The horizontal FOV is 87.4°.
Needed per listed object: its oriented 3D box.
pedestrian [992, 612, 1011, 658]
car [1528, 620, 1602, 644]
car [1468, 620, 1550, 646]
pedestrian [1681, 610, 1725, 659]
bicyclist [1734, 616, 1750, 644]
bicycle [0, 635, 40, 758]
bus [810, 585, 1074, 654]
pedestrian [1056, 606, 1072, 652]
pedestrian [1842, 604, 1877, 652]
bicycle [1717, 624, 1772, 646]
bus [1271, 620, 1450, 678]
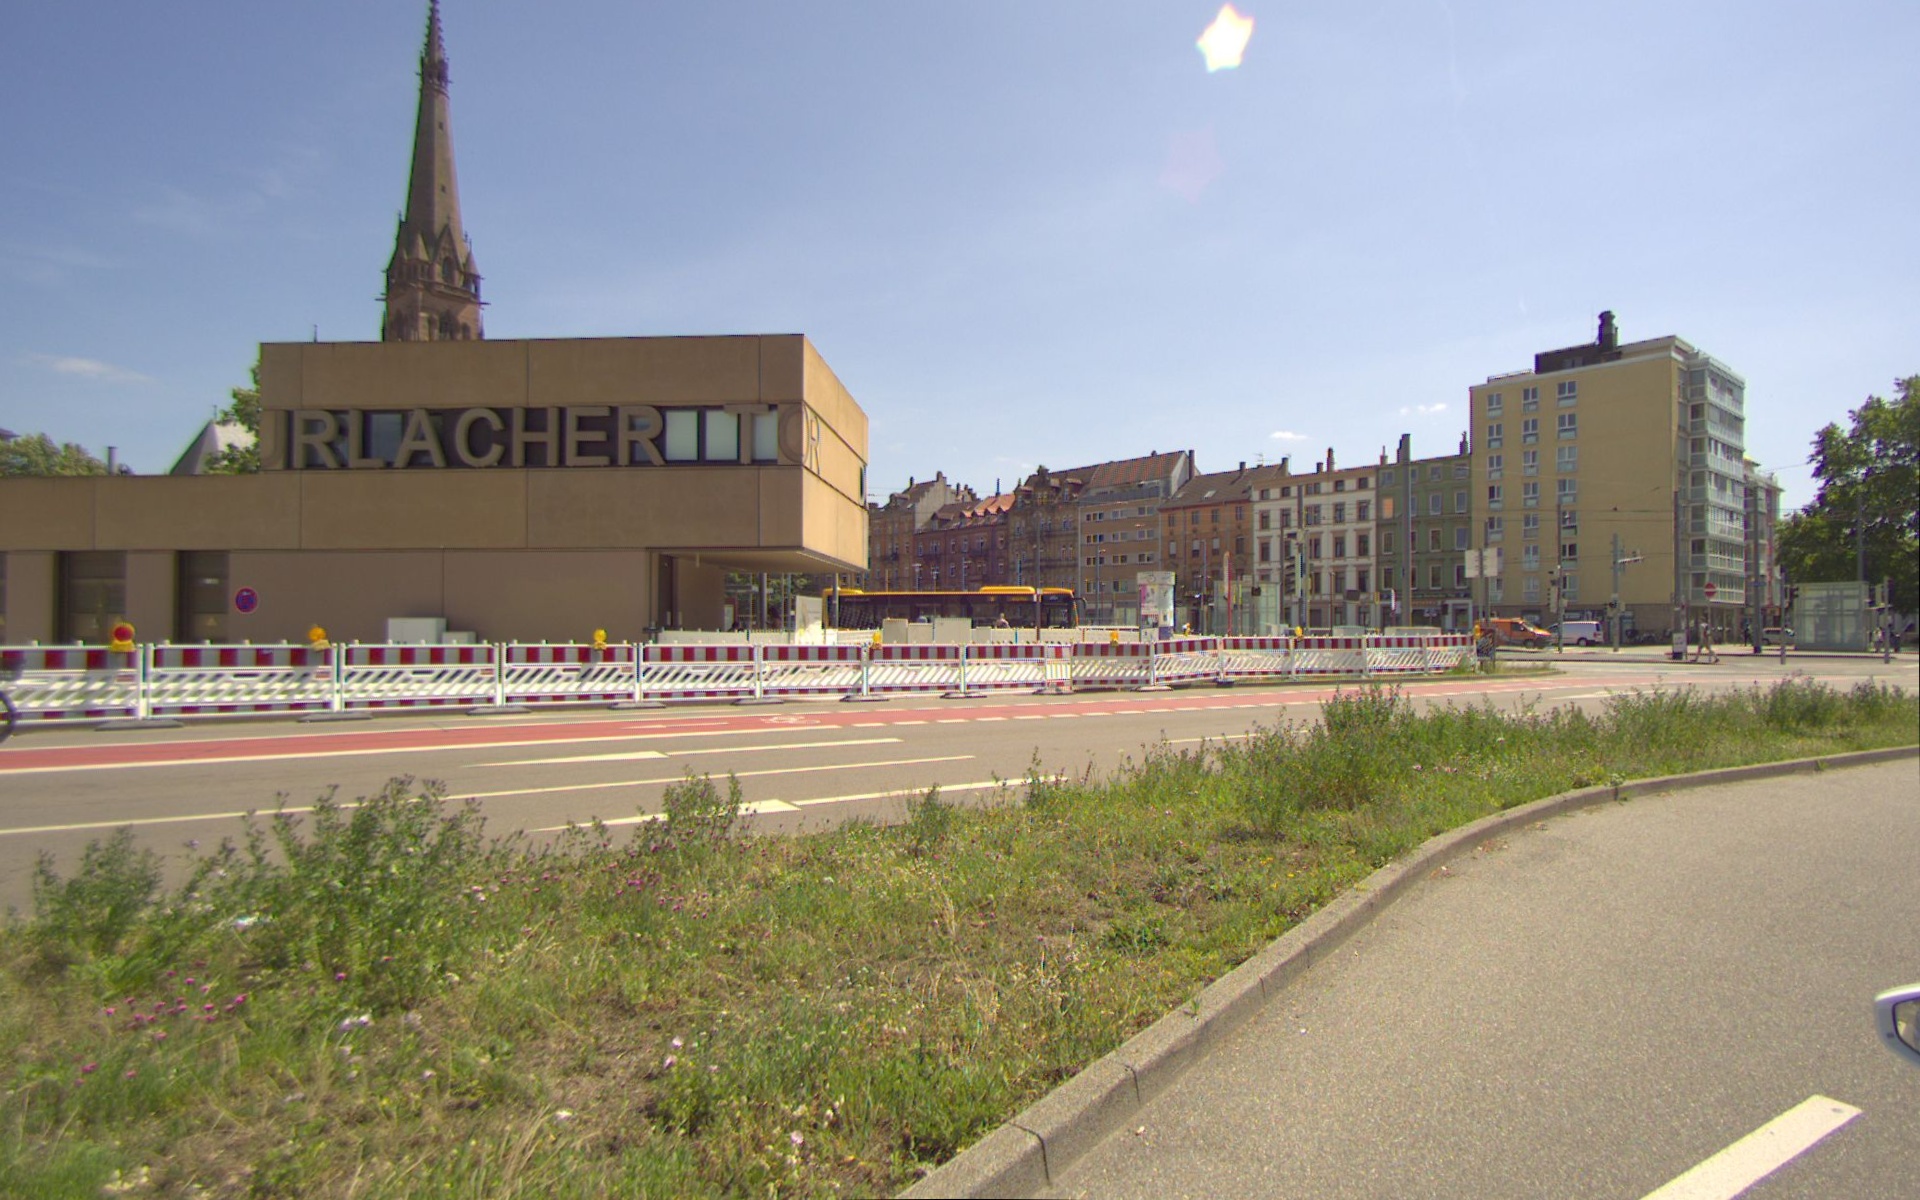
[{"bbox_3d":[1.822,1.537,44.426,0.650,2.022,0.611,-1,0,18],"label":"pedestrian"},{"bbox_3d":[43.801,2.288,72.792,1.801,1.649,4.268,-2,0,-42],"label":"car"},{"bbox_3d":[36.893,2.175,67.580,1.660,1.635,4.589,-2,0,-37],"label":"car"},{"bbox_3d":[30.698,1.398,41.522,0.891,1.959,1.174,-2,0,-29],"label":"pedestrian"},{"bbox_3d":[60.946,2.303,78.257,0.724,2.134,0.776,-1,0,20],"label":"bicyclist"},{"bbox_3d":[-10.115,0.927,9.584,1.879,1.196,0.519,2,-2,-34],"label":"bicycle"},{"bbox_3d":[-0.737,0.923,47.354,12.007,3.081,3.741,0,-1,4],"label":"bus"},{"bbox_3d":[4.716,1.315,45.518,0.650,2.022,0.611,-1,0,8],"label":"pedestrian"},{"bbox_3d":[56.803,1.744,63.442,1.318,2.977,1.210,-2,0,-26],"label":"pedestrian"},{"bbox_3d":[61.065,2.749,78.221,3.259,1.617,0.818,-1,0,21],"label":"bicycle"},{"bbox_3d":[10.973,1.269,27.309,5.750,1.266,1.238,-2,0,-30],"label":"bus"}]
